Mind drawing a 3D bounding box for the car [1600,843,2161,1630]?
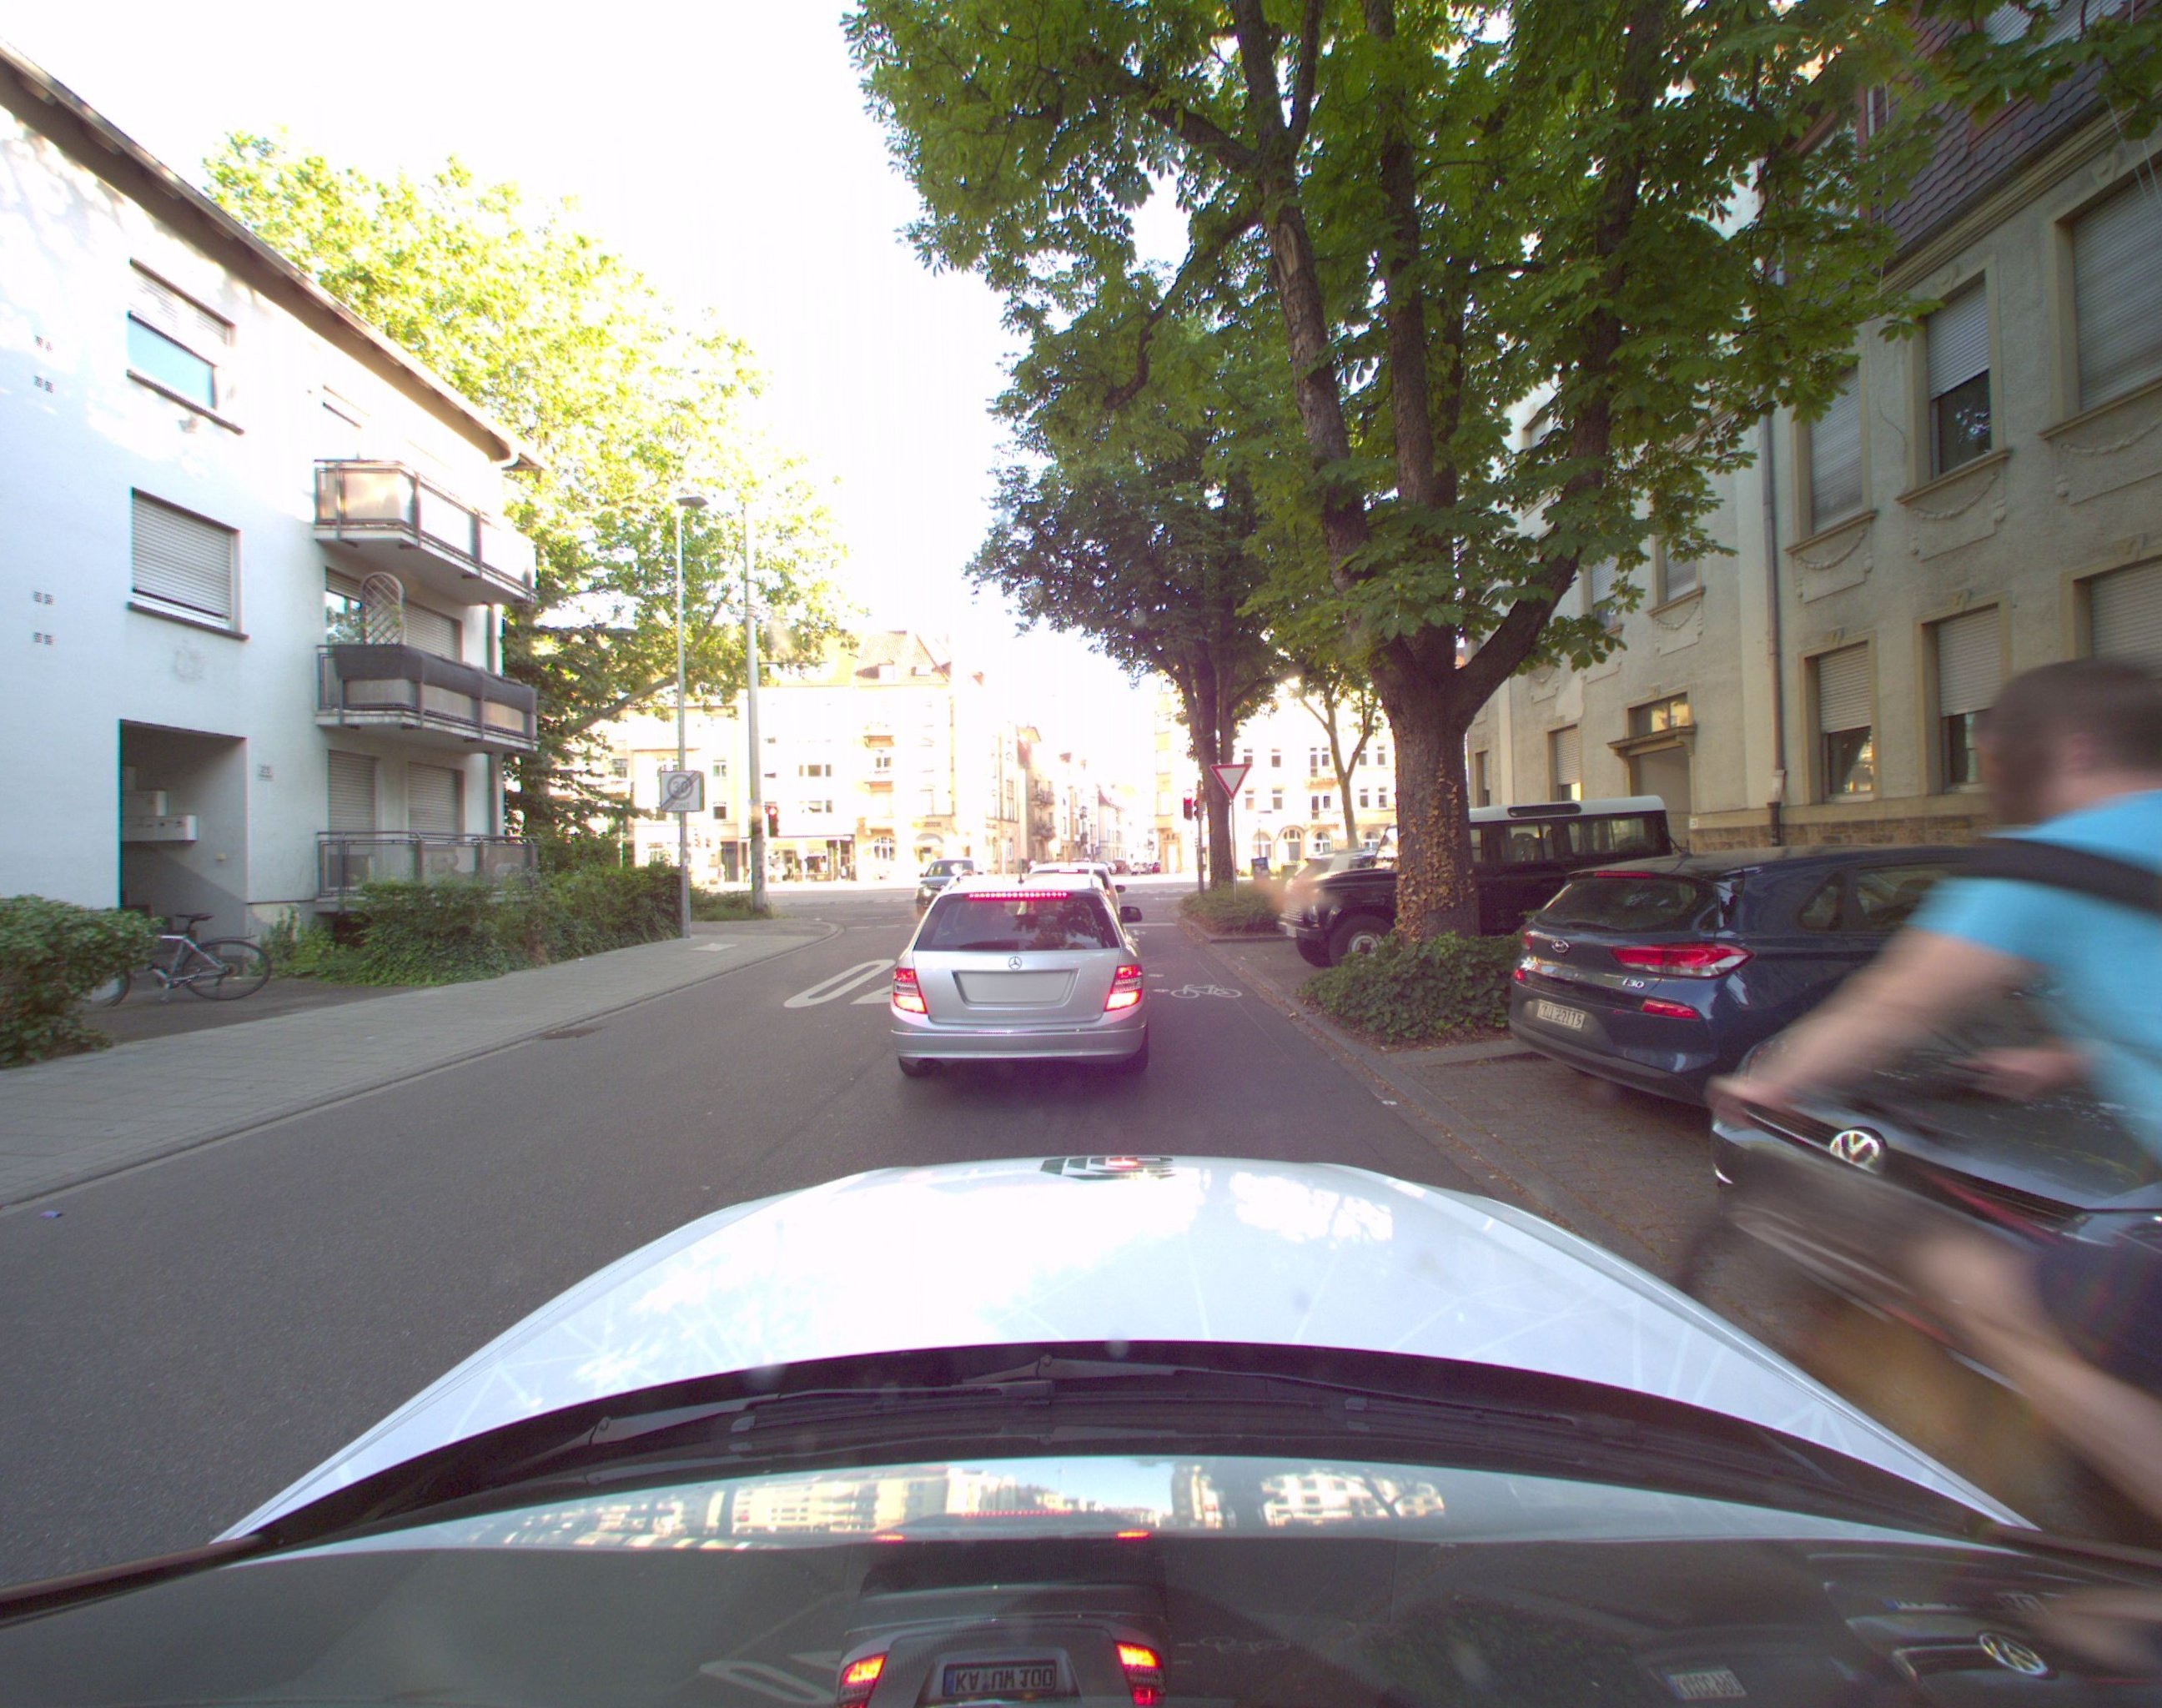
[{"bbox_3d":[4.024,0.663,2.307,4.037,1.422,1.627,-3,-1,-2],"label":"car"}]

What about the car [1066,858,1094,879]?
[{"bbox_3d":[-0.081,1.384,80.011,1.926,1.958,4.161,-2,0,10],"label":"car"}]

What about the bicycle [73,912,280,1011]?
[{"bbox_3d":[-10.005,1.158,9.081,1.469,0.975,0.402,2,-2,-38],"label":"bicycle"}]

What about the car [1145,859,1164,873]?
[{"bbox_3d":[9.227,1.457,102.030,1.709,1.478,4.016,-6,-1,14],"label":"car"}]

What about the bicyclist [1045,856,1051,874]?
[{"bbox_3d":[-3.007,0.991,73.592,0.465,1.521,0.693,-1,0,-2],"label":"bicyclist"}]

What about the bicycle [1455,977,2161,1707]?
[{"bbox_3d":[1.467,0.932,1.437,0.739,1.118,2.014,0,0,2],"label":"bicycle"}]

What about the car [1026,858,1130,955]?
[{"bbox_3d":[-0.033,0.785,13.845,1.528,1.391,3.599,-1,0,0],"label":"car"}]

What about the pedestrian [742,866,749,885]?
[{"bbox_3d":[-27.114,1.742,65.857,0.474,1.511,0.428,-1,0,-18],"label":"pedestrian"}]

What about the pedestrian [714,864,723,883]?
[{"bbox_3d":[-28.457,1.519,63.921,0.566,1.511,0.499,-1,0,-17],"label":"pedestrian"}]

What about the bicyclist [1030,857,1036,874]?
[{"bbox_3d":[-4.304,1.021,73.557,0.465,1.514,0.655,-1,0,-2],"label":"bicyclist"}]

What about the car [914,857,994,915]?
[{"bbox_3d":[-3.590,0.870,23.570,1.609,1.501,3.594,-1,0,2],"label":"car"}]

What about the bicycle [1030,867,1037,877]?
[{"bbox_3d":[-4.312,1.622,73.571,0.567,0.834,1.565,-1,0,-1],"label":"bicycle"}]

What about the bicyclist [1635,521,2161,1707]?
[{"bbox_3d":[1.470,0.533,1.265,0.644,1.775,0.831,0,-1,1],"label":"bicyclist"}]

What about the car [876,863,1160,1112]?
[{"bbox_3d":[-0.391,0.809,6.593,1.685,1.429,3.491,0,0,-1],"label":"car"}]

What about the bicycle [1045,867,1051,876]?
[{"bbox_3d":[-2.976,1.585,73.528,0.567,0.834,1.565,-1,0,-1],"label":"bicycle"}]

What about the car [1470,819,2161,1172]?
[{"bbox_3d":[4.435,0.612,4.499,3.739,1.422,1.627,-3,-1,-2],"label":"car"}]

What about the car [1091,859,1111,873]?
[{"bbox_3d":[2.533,1.534,102.551,1.639,1.783,3.876,-1,-1,13],"label":"car"}]

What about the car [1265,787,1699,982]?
[{"bbox_3d":[4.792,0.349,10.193,4.478,1.956,1.792,-3,0,-1],"label":"car"}]

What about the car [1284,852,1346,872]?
[{"bbox_3d":[14.164,0.467,49.328,3.352,1.069,1.380,-2,0,0],"label":"car"}]

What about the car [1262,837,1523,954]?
[{"bbox_3d":[4.887,0.614,13.077,3.475,1.586,1.708,-3,0,-5],"label":"car"}]

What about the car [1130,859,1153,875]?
[{"bbox_3d":[6.428,1.321,85.838,1.708,1.478,4.016,-3,0,14],"label":"car"}]
